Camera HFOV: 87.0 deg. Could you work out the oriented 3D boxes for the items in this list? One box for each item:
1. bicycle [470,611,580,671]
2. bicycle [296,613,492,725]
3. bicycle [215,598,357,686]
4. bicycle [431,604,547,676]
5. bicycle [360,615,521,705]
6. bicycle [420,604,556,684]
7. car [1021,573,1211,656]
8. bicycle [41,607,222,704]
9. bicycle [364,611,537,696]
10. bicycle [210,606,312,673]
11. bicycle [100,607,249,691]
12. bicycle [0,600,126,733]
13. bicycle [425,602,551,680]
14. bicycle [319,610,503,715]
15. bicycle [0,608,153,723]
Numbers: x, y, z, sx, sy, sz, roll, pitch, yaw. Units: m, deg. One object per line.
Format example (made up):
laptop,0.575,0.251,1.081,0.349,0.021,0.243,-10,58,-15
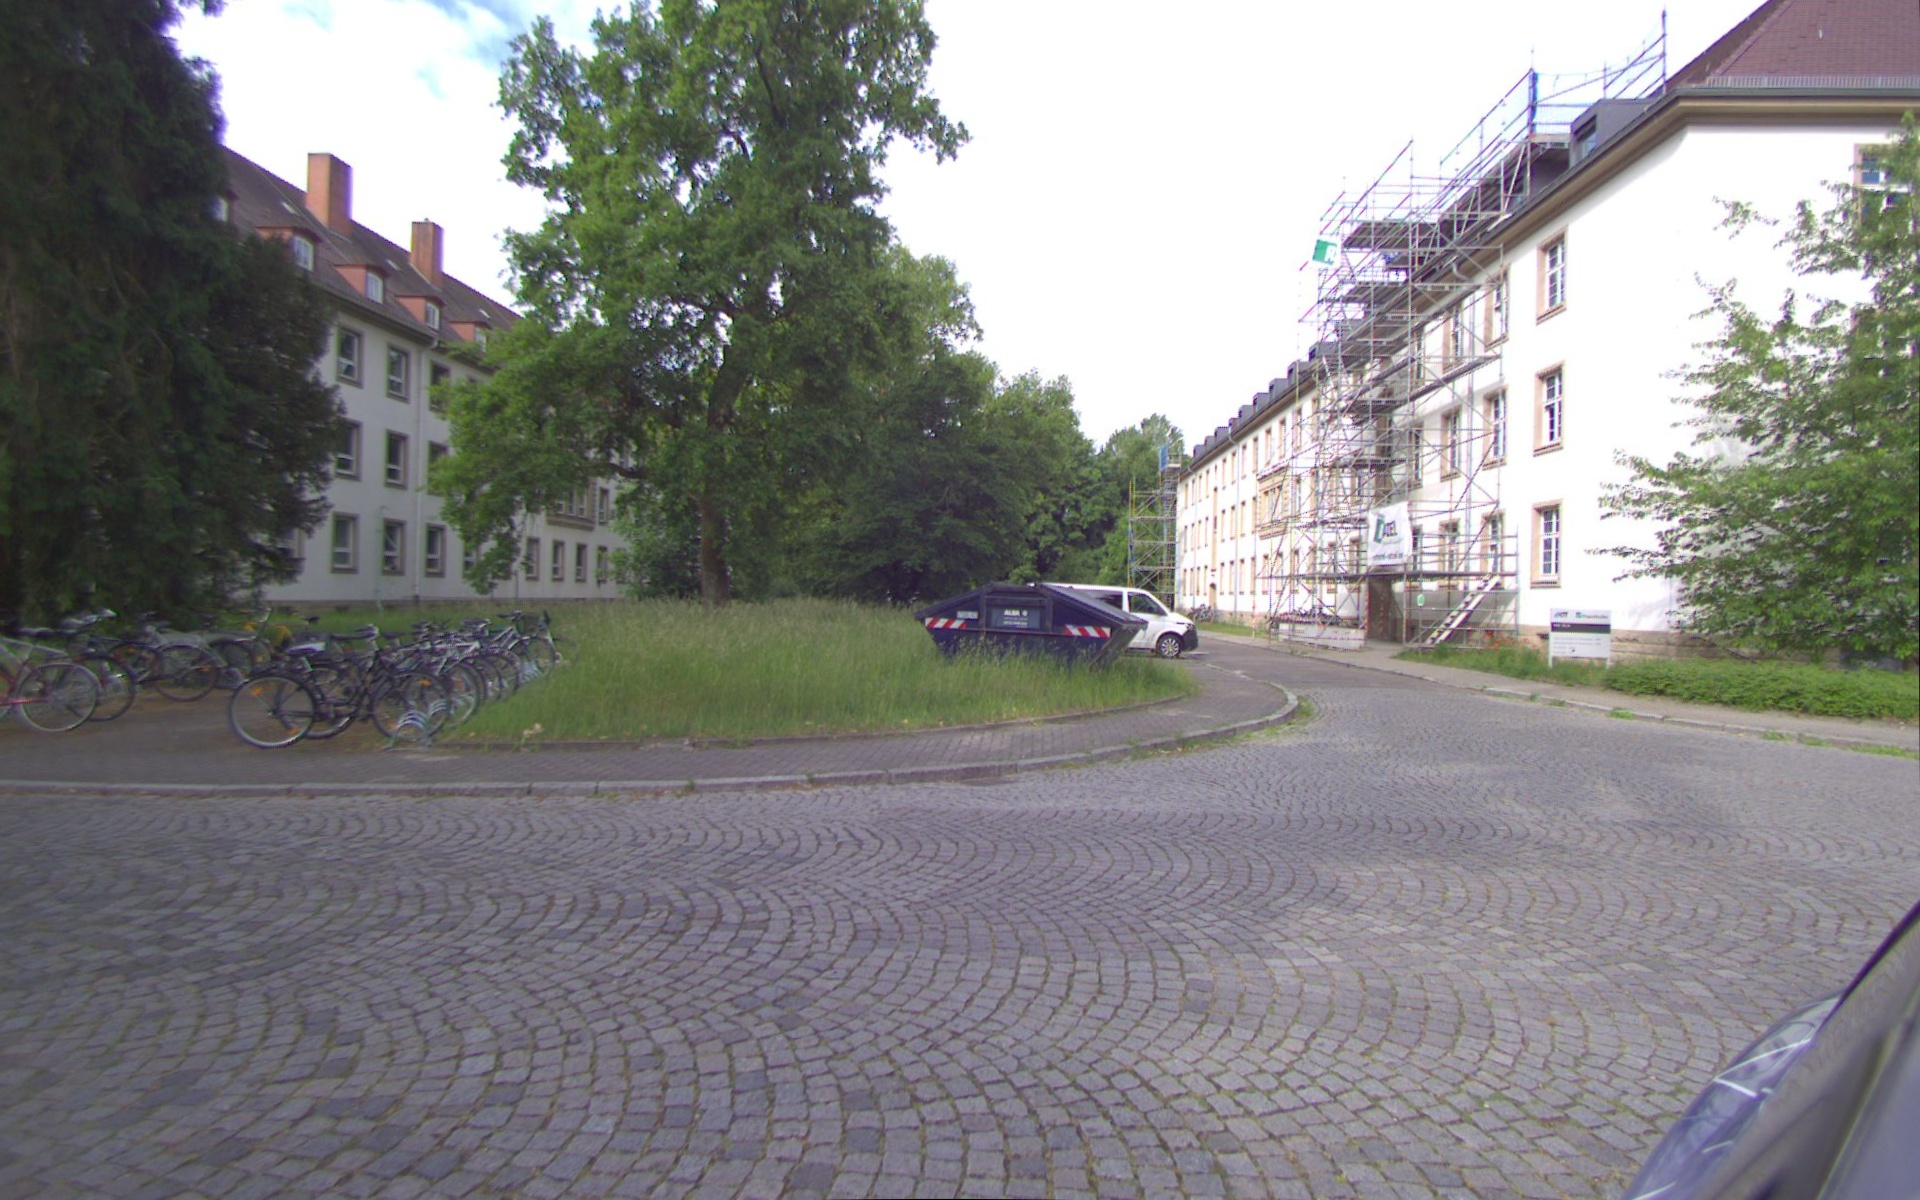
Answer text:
bicycle,-7.111,0.660,16.612,1.587,0.922,0.528,0,2,-15
bicycle,-6.127,0.723,11.060,1.736,1.117,0.704,0,2,-15
bicycle,-9.663,0.592,14.566,1.609,1.200,0.575,1,2,-22
bicycle,-7.407,0.617,15.973,1.587,1.072,0.528,0,2,-15
bicycle,-6.363,0.716,12.482,1.661,1.014,0.634,0,2,-15
bicycle,-6.946,0.631,14.963,1.739,1.118,0.543,0,2,-15
car,4.397,0.398,29.262,5.123,2.086,2.186,2,-1,3
bicycle,-9.953,0.653,12.223,1.596,1.087,0.541,1,2,-26
bicycle,-6.627,0.680,13.264,1.919,1.017,0.688,0,2,-15
bicycle,-11.080,0.622,16.072,1.236,1.042,0.434,0,-2,-15
bicycle,-10.492,0.642,13.576,1.485,1.048,0.546,1,2,-26
bicycle,-9.512,0.640,9.991,1.861,1.238,0.645,2,2,-15
bicycle,-7.185,0.611,15.468,1.666,1.130,0.543,0,2,-15
bicycle,-6.334,0.701,11.771,1.761,1.117,0.704,0,2,-15
bicycle,-9.783,0.672,10.624,1.949,1.128,0.645,1,2,-15
